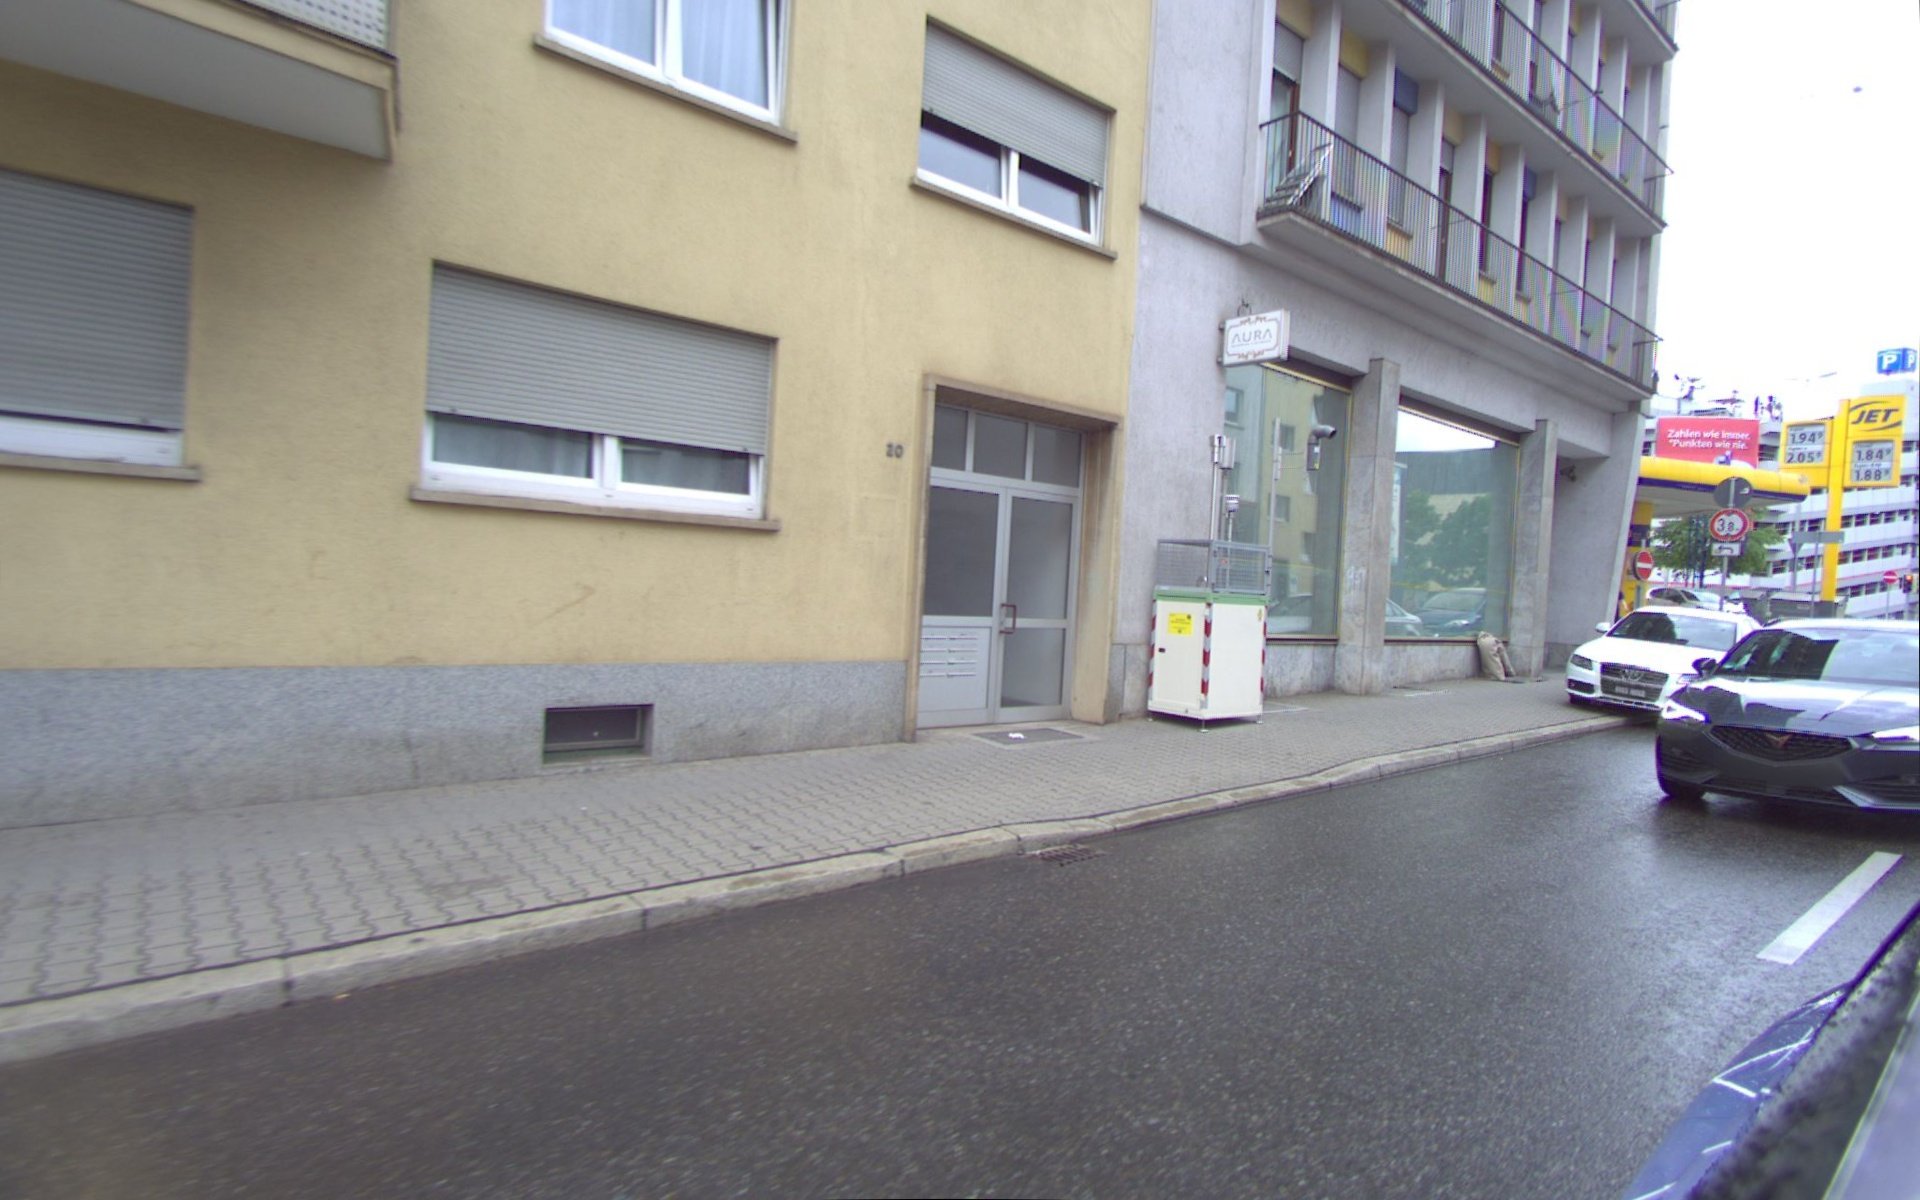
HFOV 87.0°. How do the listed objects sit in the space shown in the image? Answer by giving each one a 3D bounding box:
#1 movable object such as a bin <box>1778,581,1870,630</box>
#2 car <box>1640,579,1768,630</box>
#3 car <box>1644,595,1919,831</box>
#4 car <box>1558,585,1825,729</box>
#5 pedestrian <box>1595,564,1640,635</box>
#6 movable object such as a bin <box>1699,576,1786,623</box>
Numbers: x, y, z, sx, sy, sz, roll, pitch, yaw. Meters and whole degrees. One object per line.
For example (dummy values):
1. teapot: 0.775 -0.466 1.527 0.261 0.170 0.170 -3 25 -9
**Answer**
1. movable object such as a bin: 31.221 0.180 36.593 1.741 1.593 2.162 1 3 -39
2. car: 26.483 0.099 36.192 1.715 1.459 3.998 4 4 4
3. car: 7.247 0.720 8.036 4.499 1.405 1.739 1 1 -39
4. car: 10.037 0.668 13.755 4.529 1.418 1.899 1 7 -42
5. pedestrian: 17.161 -0.021 26.424 0.649 1.792 0.529 4 4 8
6. movable object such as a bin: 29.670 -0.023 38.395 1.741 1.574 2.162 1 4 -39
